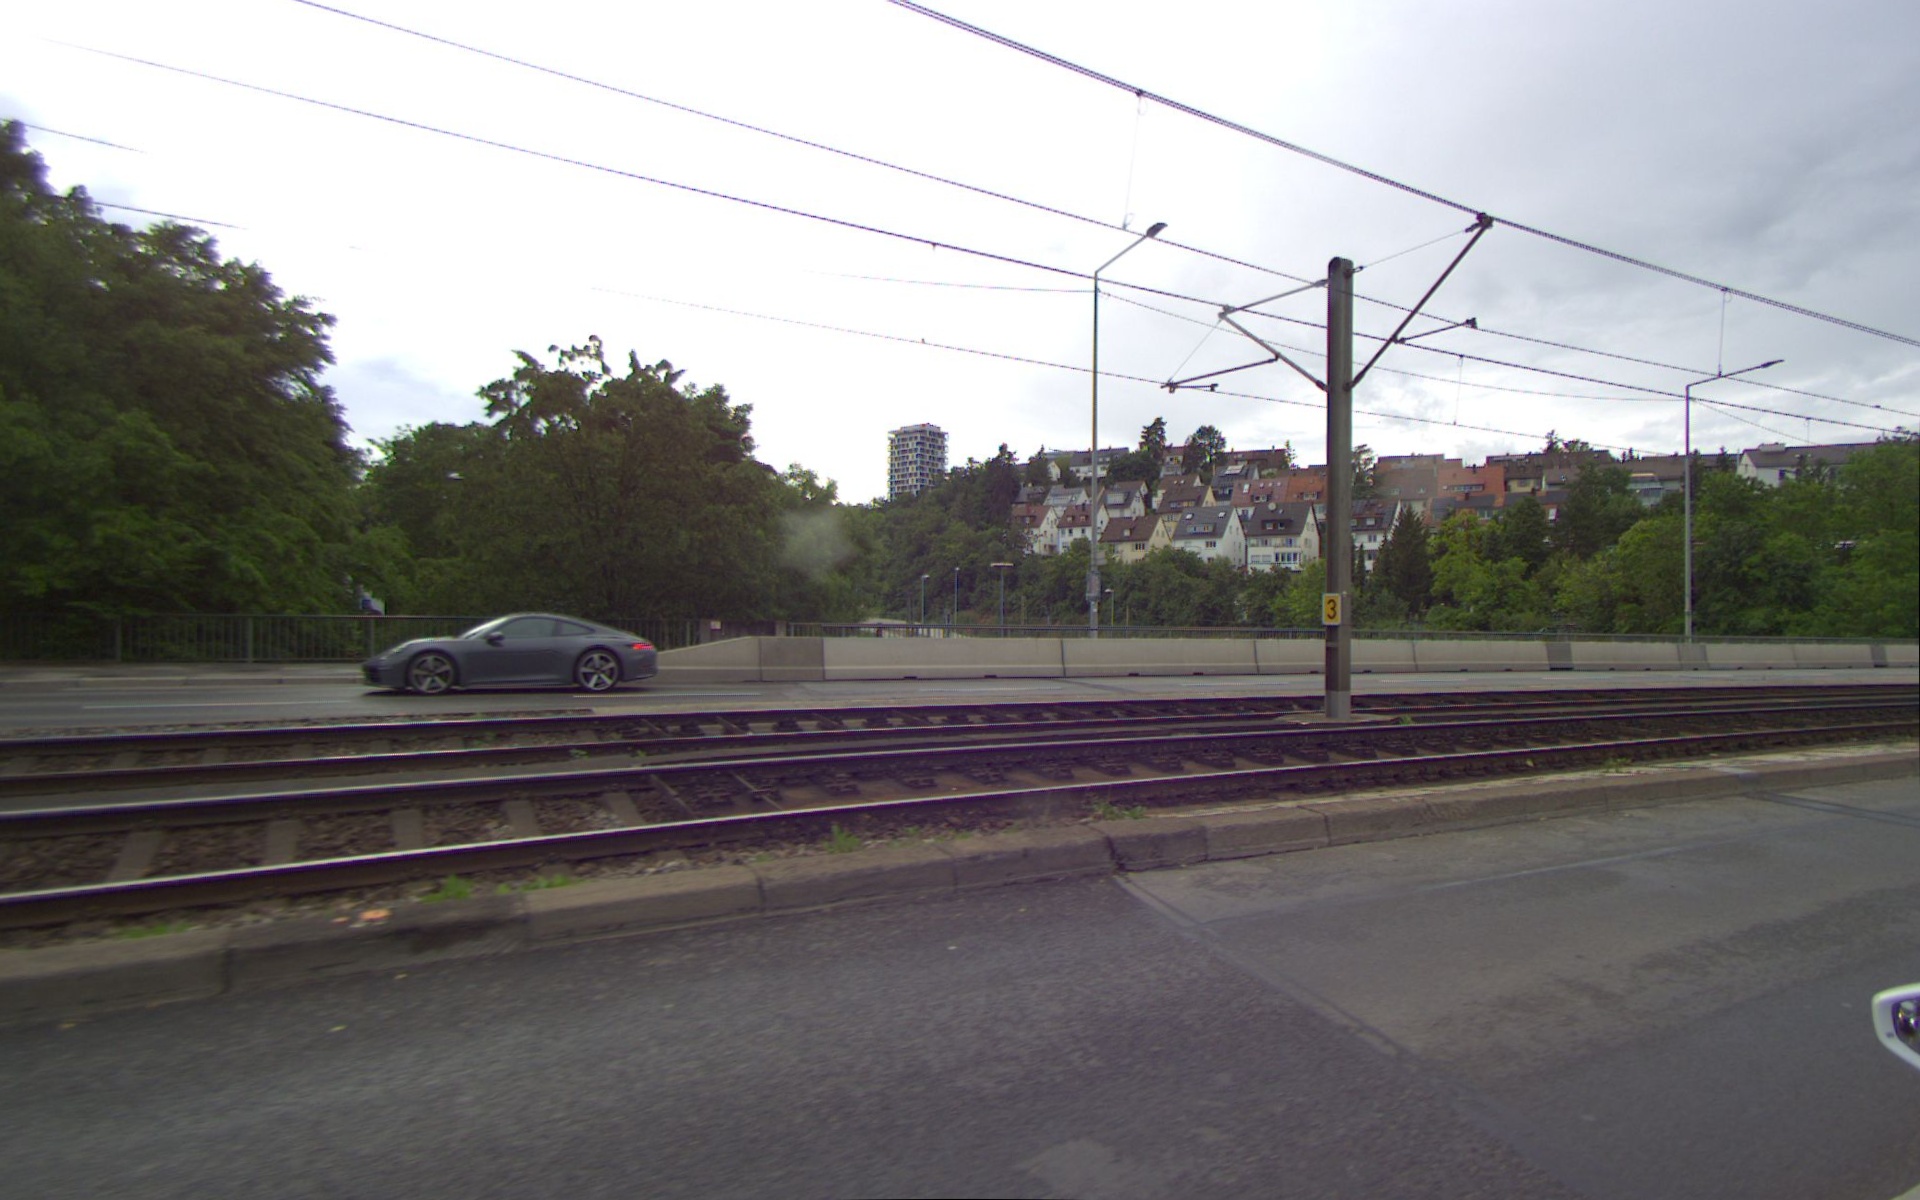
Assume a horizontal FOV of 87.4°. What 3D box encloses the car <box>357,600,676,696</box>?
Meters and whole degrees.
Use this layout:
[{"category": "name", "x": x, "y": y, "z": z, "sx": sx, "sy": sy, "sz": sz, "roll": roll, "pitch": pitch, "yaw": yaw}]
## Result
[{"category": "car", "x": -7.228, "y": 0.809, "z": 16.671, "sx": 4.559, "sy": 1.331, "sz": 1.830, "roll": 3, "pitch": 0, "yaw": -26}]
